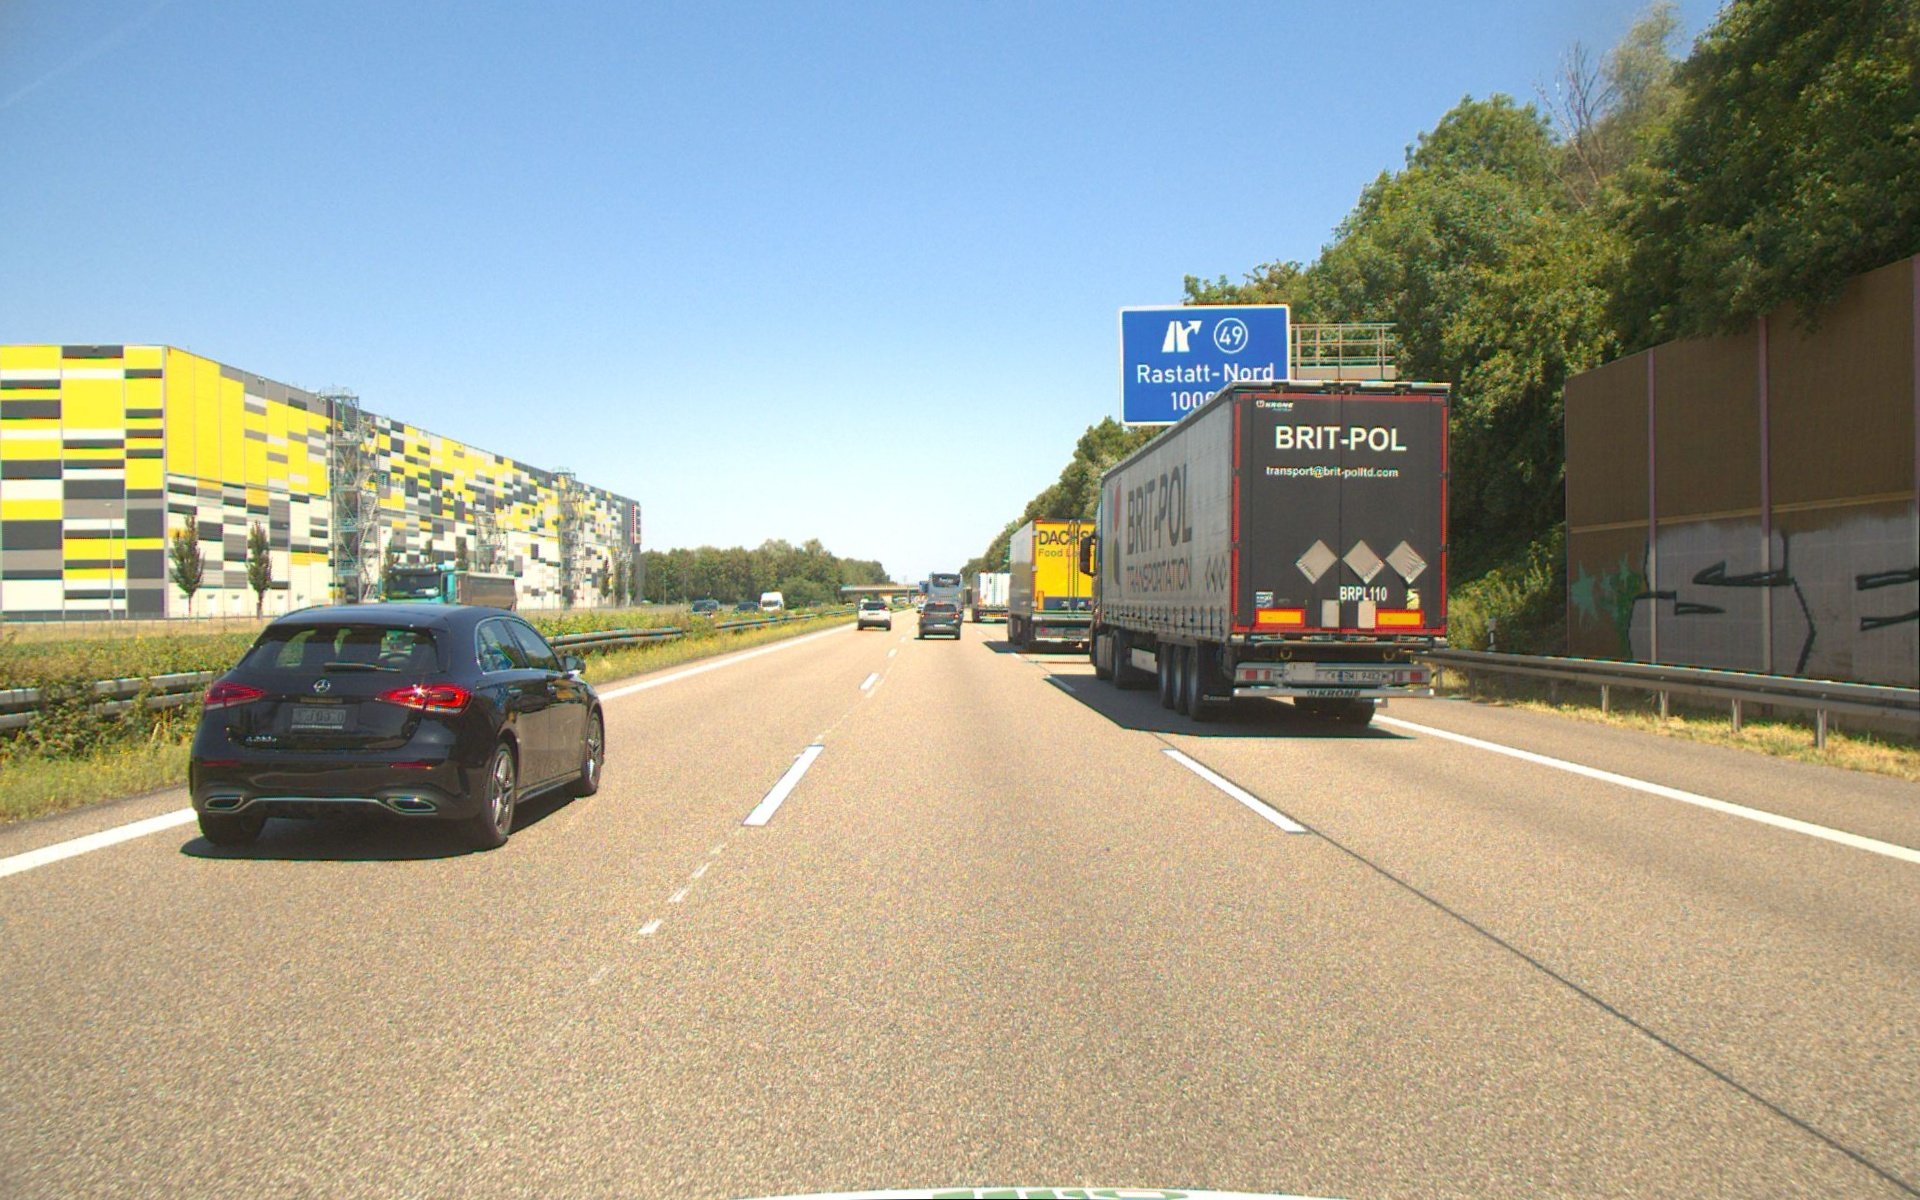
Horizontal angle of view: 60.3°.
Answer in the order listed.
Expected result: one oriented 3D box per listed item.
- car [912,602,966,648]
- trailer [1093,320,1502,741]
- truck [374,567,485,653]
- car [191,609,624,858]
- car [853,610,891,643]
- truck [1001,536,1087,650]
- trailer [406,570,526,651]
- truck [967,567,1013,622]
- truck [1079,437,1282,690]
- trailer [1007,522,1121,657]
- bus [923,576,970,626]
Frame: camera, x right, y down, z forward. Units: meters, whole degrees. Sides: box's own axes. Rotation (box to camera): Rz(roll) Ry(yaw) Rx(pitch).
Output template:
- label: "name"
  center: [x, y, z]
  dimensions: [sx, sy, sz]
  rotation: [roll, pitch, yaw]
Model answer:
- label: "car"
  center: [-0.909, 1.030, 69.828]
  dimensions: [2.171, 1.821, 5.391]
  rotation: [-1, 0, -1]
- label: "trailer"
  center: [4.313, -0.695, 25.625]
  dimensions: [3.043, 4.586, 14.892]
  rotation: [1, -1, -1]
- label: "truck"
  center: [-21.313, 0.414, 66.739]
  dimensions: [2.643, 3.307, 5.836]
  rotation: [0, -1, -1]
- label: "car"
  center: [-3.603, 0.787, 11.595]
  dimensions: [1.756, 1.436, 4.051]
  rotation: [0, -1, -2]
- label: "car"
  center: [-4.713, 1.407, 89.100]
  dimensions: [1.953, 1.758, 4.129]
  rotation: [0, 0, -2]
- label: "truck"
  center: [3.094, -0.247, 62.723]
  dimensions: [2.756, 4.077, 6.642]
  rotation: [0, 0, -2]
- label: "trailer"
  center: [-21.420, 0.471, 72.272]
  dimensions: [2.621, 3.294, 9.256]
  rotation: [0, -1, -1]
- label: "truck"
  center: [2.340, -0.389, 131.910]
  dimensions: [3.353, 4.198, 9.563]
  rotation: [-1, 0, 0]
- label: "truck"
  center: [4.183, -0.613, 32.664]
  dimensions: [3.025, 4.519, 6.050]
  rotation: [0, -1, -2]
- label: "trailer"
  center: [3.287, -0.308, 55.322]
  dimensions: [2.777, 4.023, 11.680]
  rotation: [0, 0, -1]
- label: "bus"
  center: [-1.047, 0.070, 117.402]
  dimensions: [3.001, 3.385, 8.270]
  rotation: [-1, 0, -2]
